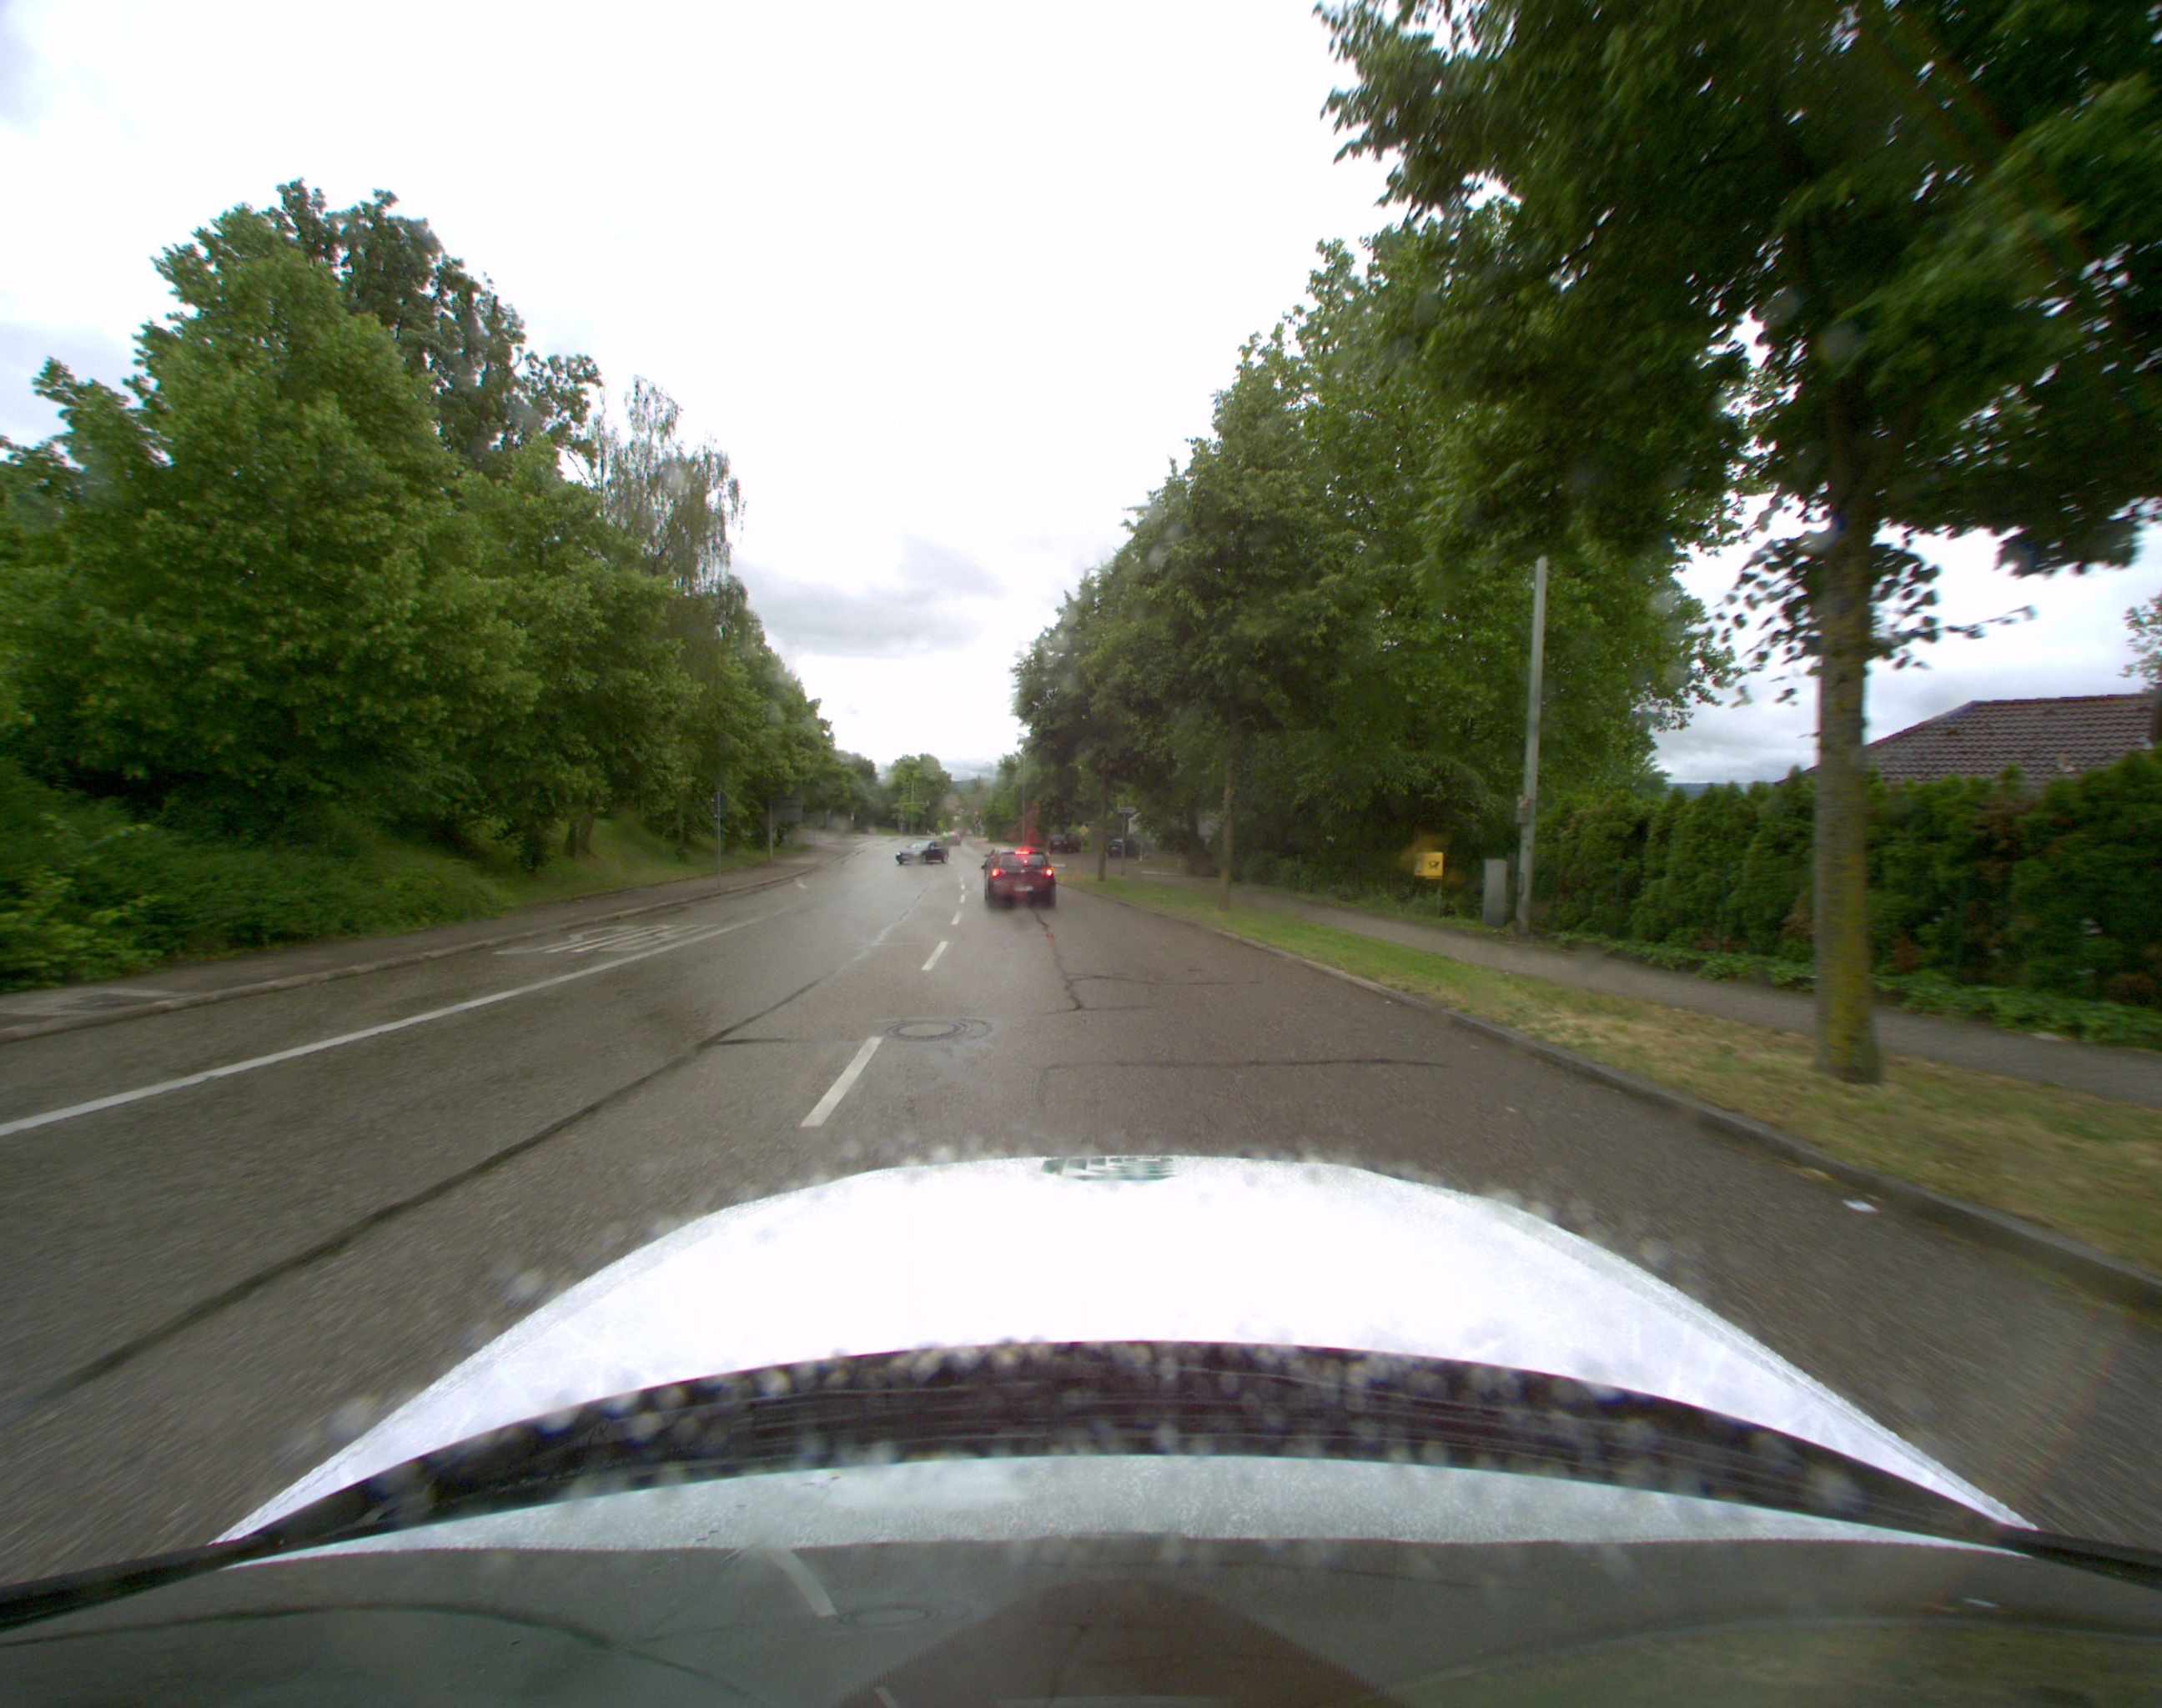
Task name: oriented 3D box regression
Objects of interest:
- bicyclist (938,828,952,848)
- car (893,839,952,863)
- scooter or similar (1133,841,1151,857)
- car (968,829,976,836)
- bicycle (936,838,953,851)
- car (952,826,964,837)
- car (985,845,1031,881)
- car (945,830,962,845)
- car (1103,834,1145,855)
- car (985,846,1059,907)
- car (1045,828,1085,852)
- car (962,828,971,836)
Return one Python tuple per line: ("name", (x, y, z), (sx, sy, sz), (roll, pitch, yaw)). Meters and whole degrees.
("bicyclist", (-12.131, -1.427, 72.578), (0.857, 1.755, 1.273), (1, 1, -31))
("car", (-9.916, -0.165, 51.135), (1.707, 1.383, 4.160), (1, 0, 20))
("scooter or similar", (4.987, -0.446, 66.534), (1.338, 1.285, 0.558), (0, 1, -17))
("car", (-27.240, -5.373, 203.025), (1.720, 1.463, 3.990), (4, 1, -8))
("bicycle", (-12.177, -0.849, 72.634), (0.857, 1.155, 2.018), (1, 1, -31))
("car", (-18.556, -3.386, 123.107), (1.720, 1.463, 3.990), (4, 1, -8))
("car", (-3.391, 0.374, 37.093), (1.754, 1.464, 3.987), (0, 1, -10))
("car", (-13.609, -1.764, 87.111), (1.720, 1.463, 3.990), (4, 1, -8))
("car", (3.690, -0.814, 68.710), (1.735, 1.469, 4.594), (5, 6, 27))
("car", (-1.669, 0.552, 21.912), (1.720, 1.464, 3.989), (1, 0, -8))
("car", (-1.310, -1.245, 70.439), (1.932, 1.688, 4.928), (3, 5, 18))
("car", (-23.613, -4.464, 167.727), (1.720, 1.463, 3.990), (4, 1, -8))
